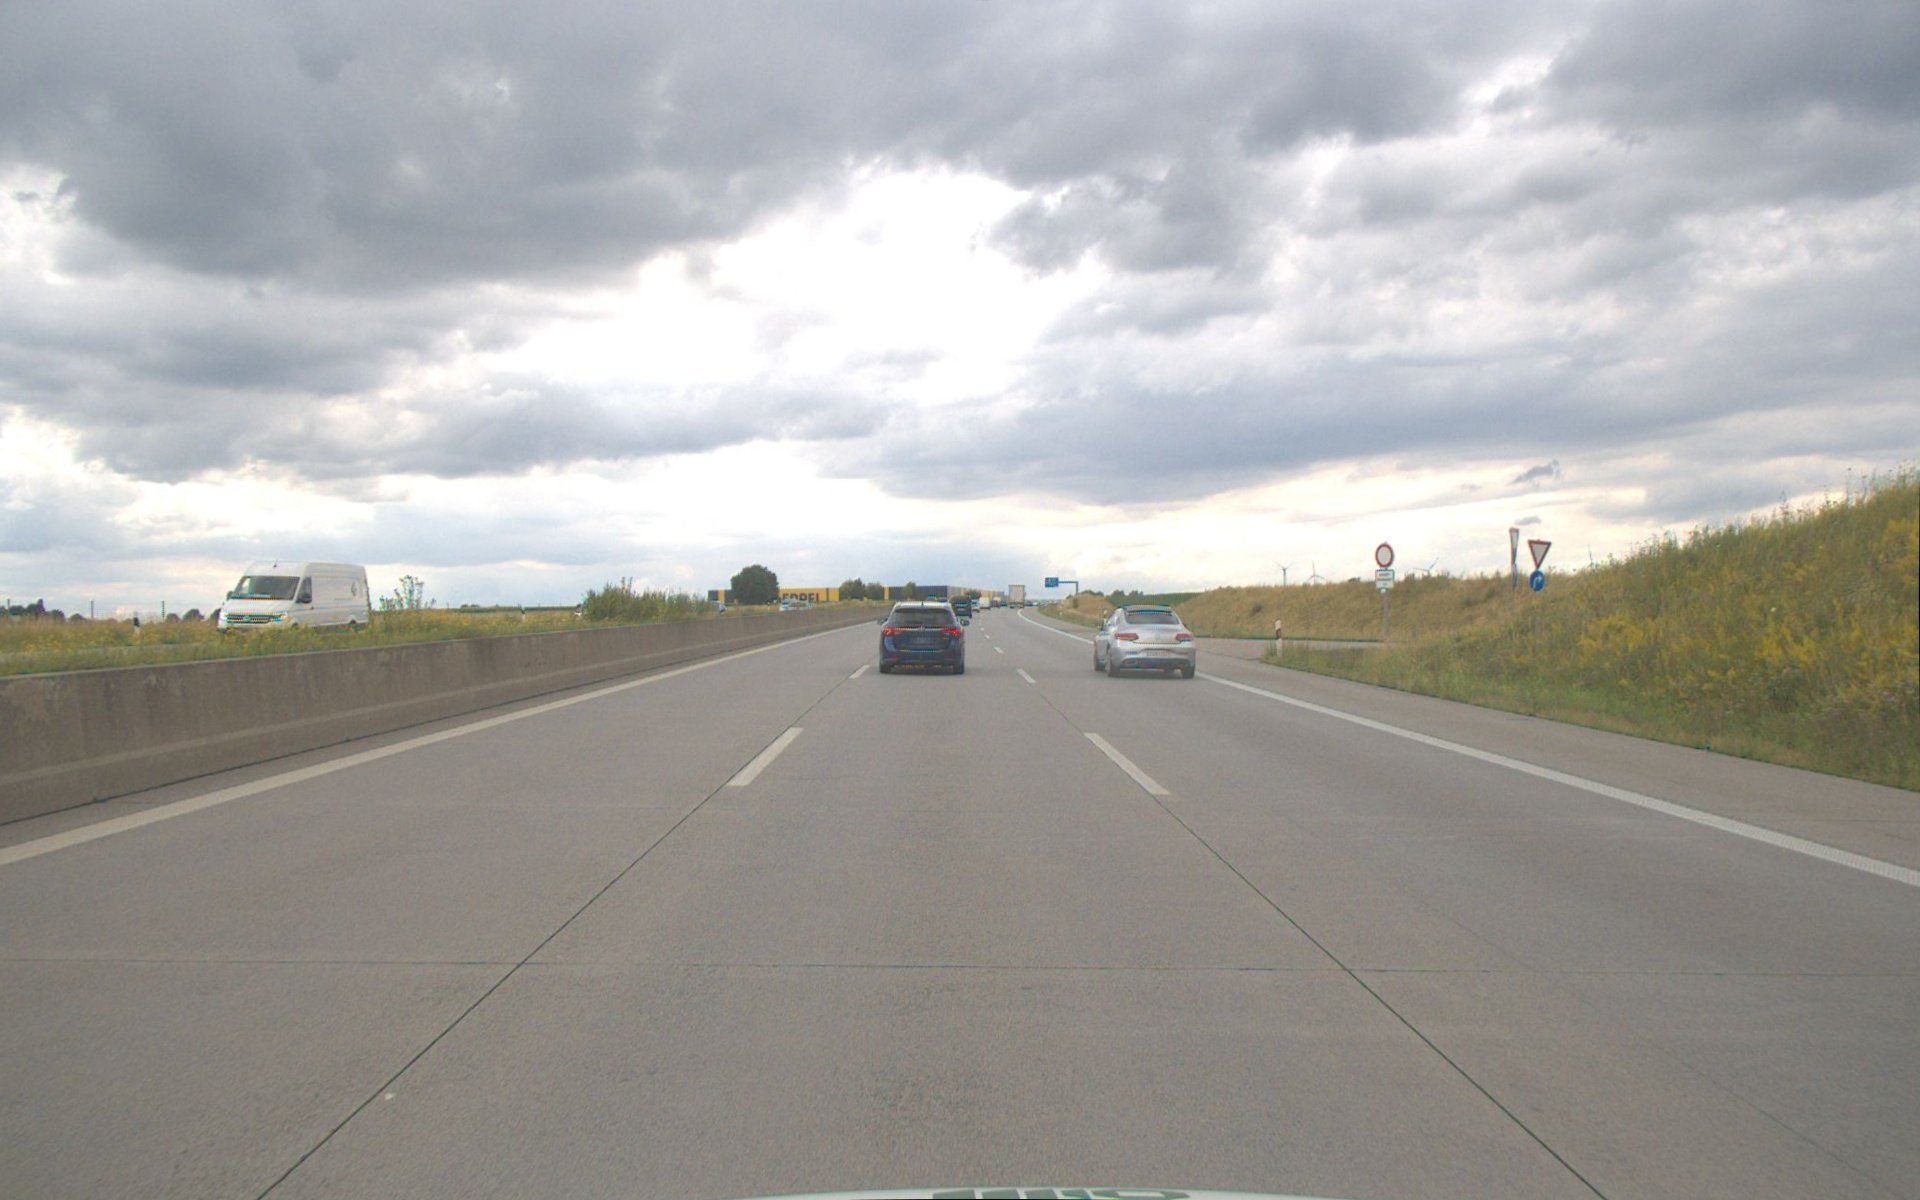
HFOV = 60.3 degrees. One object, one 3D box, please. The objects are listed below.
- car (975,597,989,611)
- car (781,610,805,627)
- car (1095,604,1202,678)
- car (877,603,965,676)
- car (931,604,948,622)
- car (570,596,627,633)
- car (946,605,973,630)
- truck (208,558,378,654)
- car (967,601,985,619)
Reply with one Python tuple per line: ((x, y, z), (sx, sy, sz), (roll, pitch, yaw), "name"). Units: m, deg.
((3.238, 0.606, 243.419), (1.952, 2.049, 4.000), (1, -1, 0), "car")
((-15.637, 1.785, 155.062), (1.742, 1.533, 4.516), (1, -1, 0), "car")
((3.881, 0.823, 34.635), (1.752, 1.428, 4.221), (0, 0, 0), "car")
((-0.828, 0.803, 34.802), (1.739, 1.438, 3.998), (0, 0, -2), "car")
((-2.449, 1.549, 195.365), (2.005, 2.049, 3.999), (1, -1, -1), "car")
((-15.906, 0.621, 72.963), (1.622, 1.594, 4.222), (0, 0, 0), "car")
((-0.069, 1.467, 139.874), (1.954, 2.049, 3.996), (1, -1, -4), "car")
((-19.736, 0.218, 49.420), (2.101, 2.611, 7.446), (1, -1, -1), "truck")
((1.914, 1.133, 194.767), (1.952, 2.049, 4.001), (2, 0, 2), "car")
